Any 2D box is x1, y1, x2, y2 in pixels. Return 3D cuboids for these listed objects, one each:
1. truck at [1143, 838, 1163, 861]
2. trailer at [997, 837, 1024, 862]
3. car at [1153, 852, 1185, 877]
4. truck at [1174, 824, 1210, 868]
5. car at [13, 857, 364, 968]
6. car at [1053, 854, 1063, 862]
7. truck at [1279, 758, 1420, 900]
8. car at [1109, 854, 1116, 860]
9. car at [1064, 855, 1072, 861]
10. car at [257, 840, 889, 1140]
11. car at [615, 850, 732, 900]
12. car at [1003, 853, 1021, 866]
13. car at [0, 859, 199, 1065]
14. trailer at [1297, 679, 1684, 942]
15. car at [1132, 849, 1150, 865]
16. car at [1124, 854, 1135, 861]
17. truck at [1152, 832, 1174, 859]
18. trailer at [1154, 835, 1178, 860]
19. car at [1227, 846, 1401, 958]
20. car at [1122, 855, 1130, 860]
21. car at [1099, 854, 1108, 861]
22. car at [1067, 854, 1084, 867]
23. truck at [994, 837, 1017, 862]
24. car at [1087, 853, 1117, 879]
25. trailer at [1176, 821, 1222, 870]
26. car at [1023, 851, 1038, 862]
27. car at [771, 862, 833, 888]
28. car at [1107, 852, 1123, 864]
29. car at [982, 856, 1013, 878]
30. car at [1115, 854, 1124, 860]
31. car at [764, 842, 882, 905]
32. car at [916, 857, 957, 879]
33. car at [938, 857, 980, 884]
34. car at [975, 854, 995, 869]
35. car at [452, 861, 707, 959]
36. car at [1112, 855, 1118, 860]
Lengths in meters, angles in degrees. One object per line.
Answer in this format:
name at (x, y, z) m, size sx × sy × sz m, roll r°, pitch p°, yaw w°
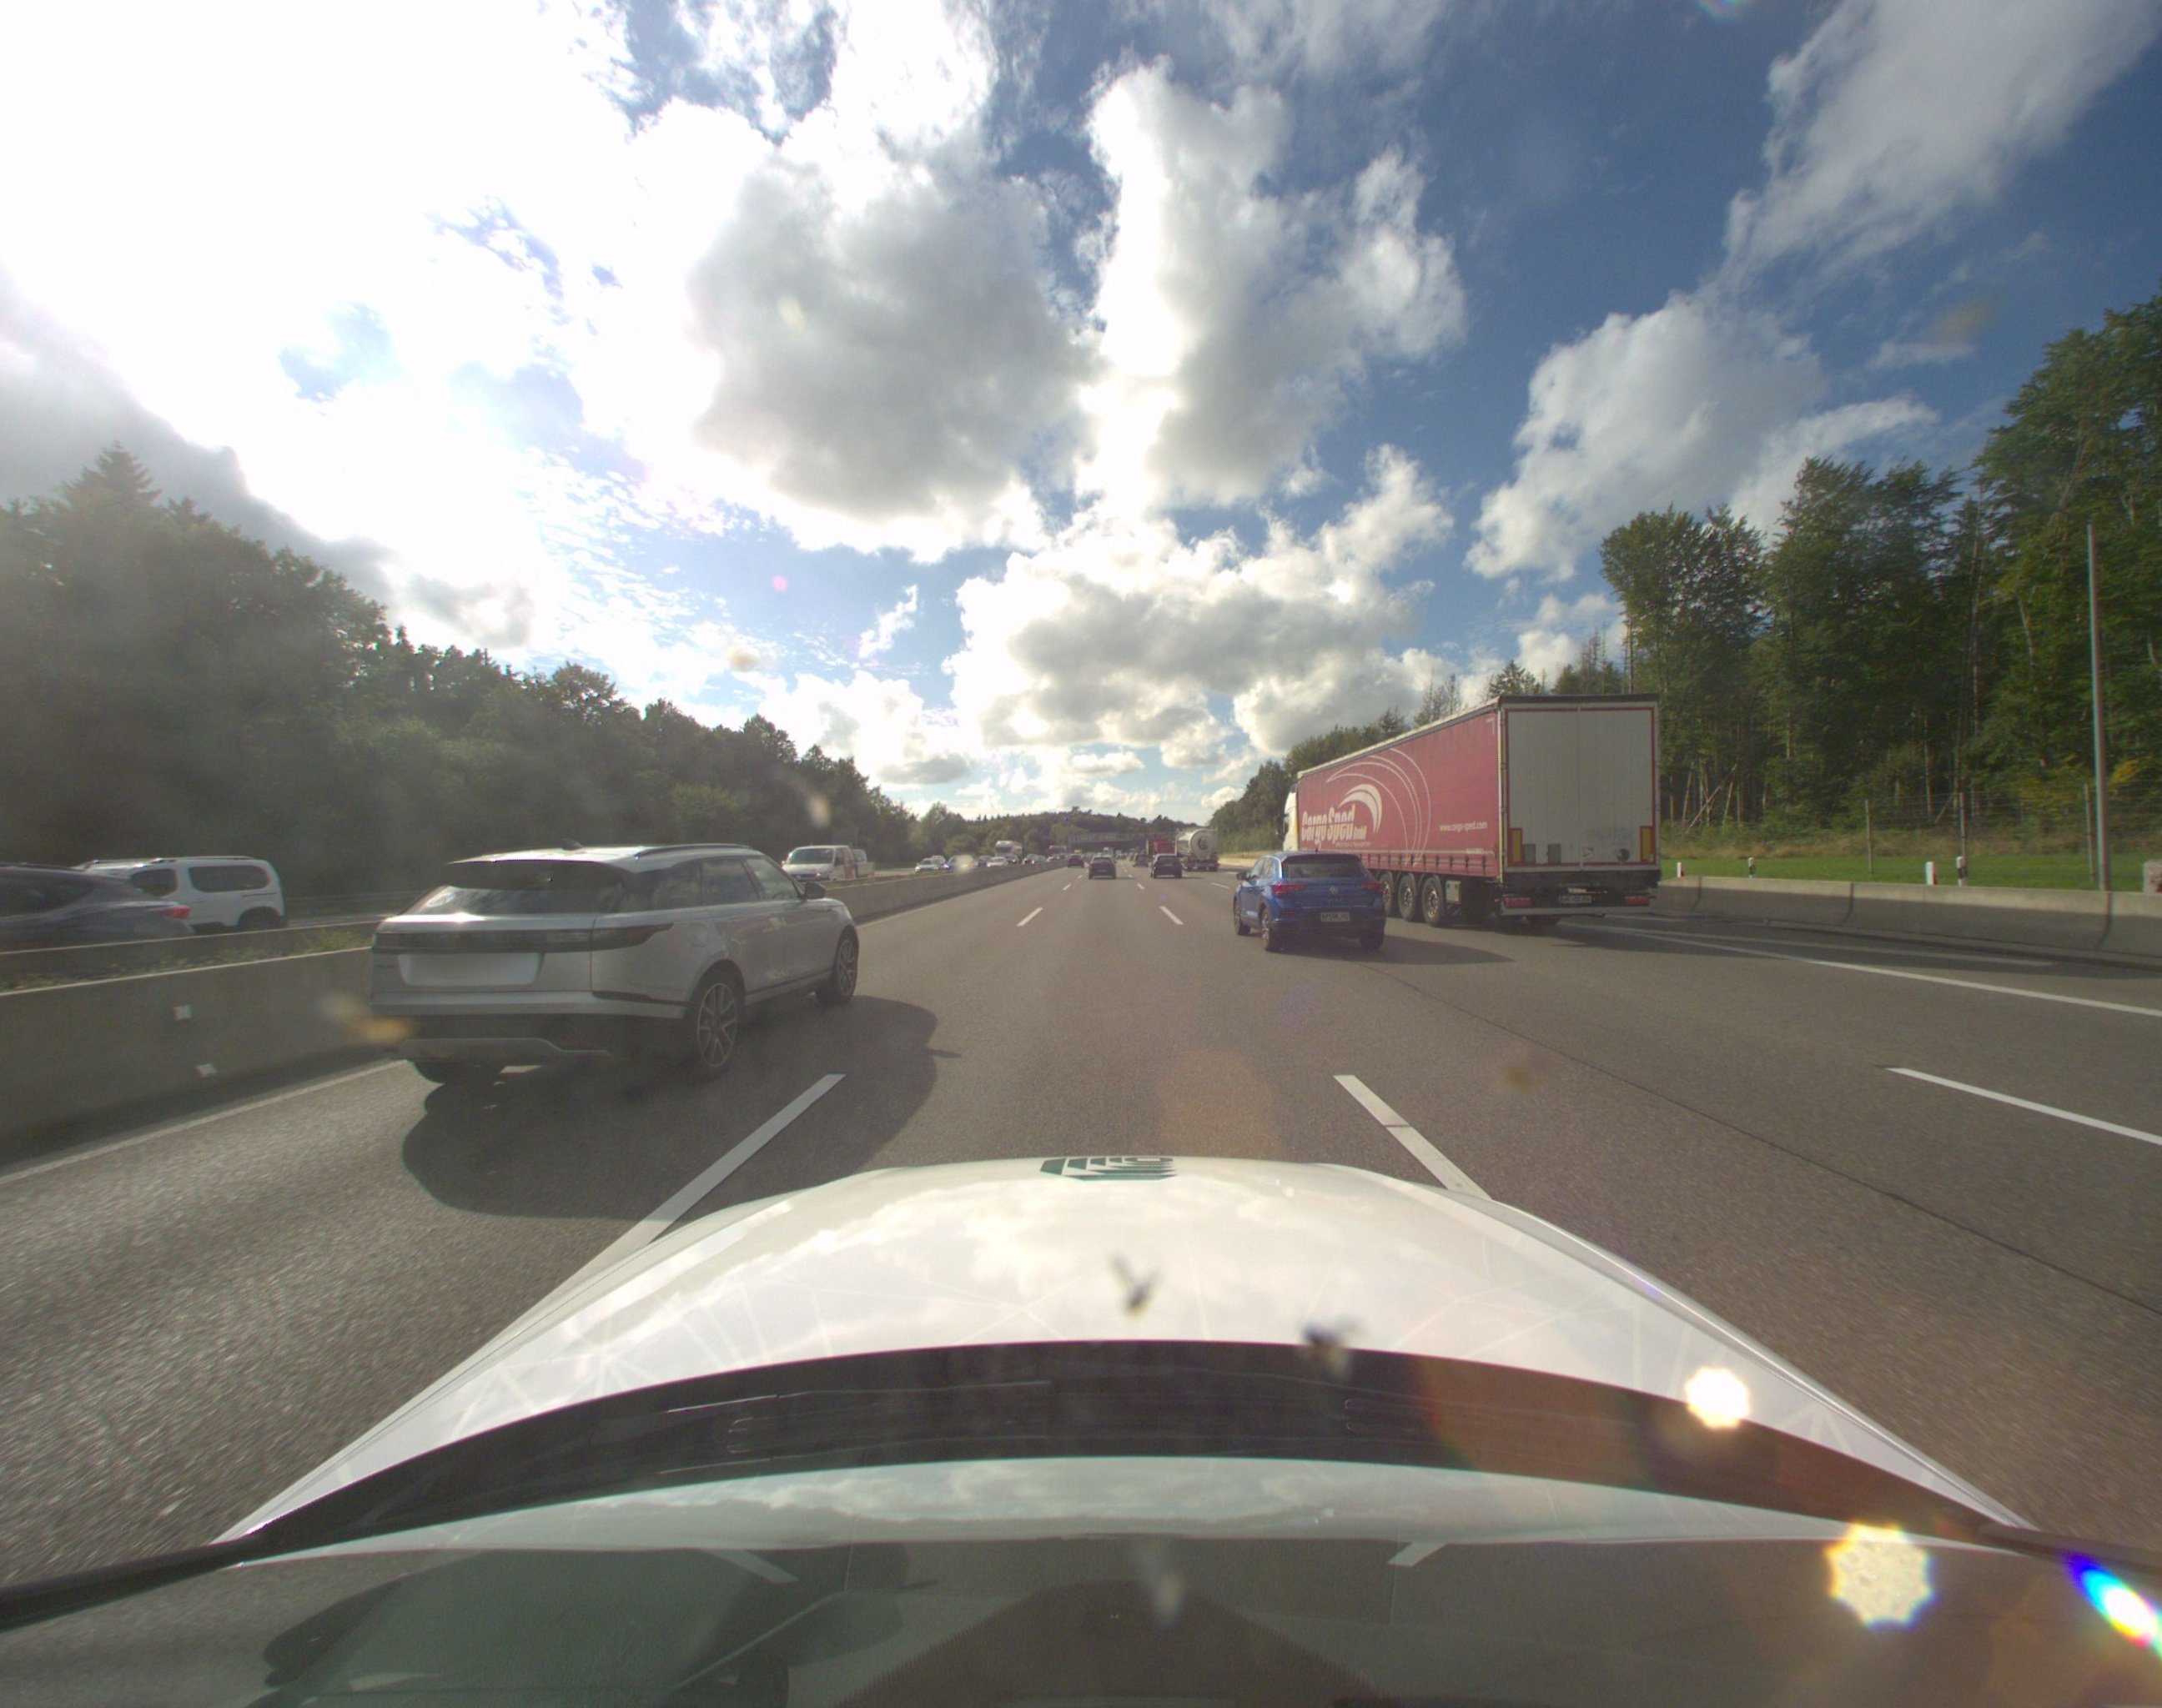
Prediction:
truck at (13.089, -0.836, 148.725) m, size 3.106 × 3.934 × 10.416 m, roll -2°, pitch 0°, yaw 2°
trailer at (-11.889, -0.694, 138.275) m, size 2.776 × 3.945 × 12.262 m, roll -1°, pitch 0°, yaw 3°
car at (5.460, 0.623, 50.886) m, size 1.814 × 1.457 × 4.005 m, roll -2°, pitch 0°, yaw 4°
truck at (10.255, -0.736, 75.987) m, size 2.639 × 3.823 × 6.085 m, roll -2°, pitch 0°, yaw 2°
car at (-17.370, 1.020, 16.288) m, size 1.839 × 1.799 × 4.552 m, roll -2°, pitch 0°, yaw 2°
car at (-5.144, 0.978, 180.983) m, size 1.986 × 1.664 × 4.689 m, roll -2°, pitch 0°, yaw 2°
truck at (8.424, -0.713, 26.343) m, size 2.763 × 4.045 × 5.776 m, roll -1°, pitch 0°, yaw 2°
car at (9.064, 0.829, 235.385) m, size 1.922 × 1.457 × 4.393 m, roll -2°, pitch 0°, yaw 1°
car at (-3.429, 1.122, 211.978) m, size 1.595 × 1.403 × 4.006 m, roll 2°, pitch 0°, yaw 6°
car at (-3.385, 0.730, 7.058) m, size 1.998 × 1.616 × 5.303 m, roll 0°, pitch 0°, yaw 2°
car at (-16.737, 0.792, 33.843) m, size 1.942 × 1.851 × 5.344 m, roll -2°, pitch 0°, yaw 2°
car at (-9.545, 0.720, 112.357) m, size 1.852 × 1.619 × 4.750 m, roll -1°, pitch 0°, yaw 2°
car at (-9.681, 0.904, 5.586) m, size 2.163 × 1.618 × 4.552 m, roll -2°, pitch 0°, yaw 2°
trailer at (8.196, -0.693, 19.554) m, size 2.763 × 4.045 × 13.719 m, roll -1°, pitch 0°, yaw 2°
car at (6.929, 0.363, 94.617) m, size 1.886 × 1.856 × 4.102 m, roll 0°, pitch 0°, yaw 2°
car at (10.004, 0.694, 168.350) m, size 1.935 × 1.457 × 4.001 m, roll -2°, pitch 0°, yaw 1°
truck at (11.722, -1.236, 116.662) m, size 2.699 × 3.718 × 5.822 m, roll -1°, pitch 1°, yaw 3°
trailer at (11.534, -0.943, 111.544) m, size 2.699 × 3.231 × 9.740 m, roll -1°, pitch 1°, yaw 3°
car at (3.706, 0.678, 13.792) m, size 1.766 × 1.530 × 4.459 m, roll -2°, pitch 0°, yaw 2°
car at (12.351, 0.924, 223.527) m, size 2.069 × 1.457 × 4.001 m, roll -2°, pitch 0°, yaw 1°
car at (5.633, 0.861, 203.930) m, size 2.068 × 1.457 × 4.004 m, roll -2°, pitch 0°, yaw 4°
car at (-0.615, 0.770, 96.143) m, size 1.935 × 1.457 × 4.000 m, roll -2°, pitch 0°, yaw 1°
truck at (-12.246, -0.735, 132.250) m, size 2.776 × 3.945 × 6.450 m, roll -1°, pitch 0°, yaw 3°
car at (1.322, 0.733, 51.543) m, size 1.815 × 1.546 × 4.002 m, roll -1°, pitch 0°, yaw 2°
trailer at (10.024, -0.667, 70.346) m, size 2.638 × 3.767 × 11.866 m, roll -2°, pitch 0°, yaw 2°
car at (-8.167, 0.426, 131.402) m, size 1.848 × 1.670 × 5.214 m, roll -3°, pitch 0°, yaw 2°
car at (-16.146, 1.174, 47.398) m, size 1.858 × 1.302 × 4.552 m, roll -2°, pitch 0°, yaw 2°
car at (4.349, 0.489, 102.905) m, size 1.814 × 1.457 × 4.004 m, roll -2°, pitch 0°, yaw 4°
car at (-7.795, 1.150, 76.165) m, size 2.163 × 1.878 × 4.983 m, roll -2°, pitch 0°, yaw 2°
car at (9.392, 0.775, 200.134) m, size 2.069 × 1.457 × 4.001 m, roll -2°, pitch 0°, yaw 1°
car at (-9.256, 0.631, 29.895) m, size 2.150 × 2.013 × 5.826 m, roll -2°, pitch 0°, yaw 3°
car at (-11.006, 1.048, 62.252) m, size 1.986 × 1.484 × 5.134 m, roll -2°, pitch 0°, yaw 2°
car at (-7.946, 1.035, 53.264) m, size 1.905 × 1.640 × 4.244 m, roll -2°, pitch 0°, yaw 2°
car at (-10.624, 0.830, 90.207) m, size 1.622 × 1.512 × 4.002 m, roll -2°, pitch 0°, yaw 2°
car at (-9.785, 1.004, 16.474) m, size 2.163 × 1.569 × 4.552 m, roll -2°, pitch 0°, yaw 2°
car at (10.703, 0.977, 257.618) m, size 1.922 × 1.457 × 3.965 m, roll -2°, pitch 0°, yaw 1°
